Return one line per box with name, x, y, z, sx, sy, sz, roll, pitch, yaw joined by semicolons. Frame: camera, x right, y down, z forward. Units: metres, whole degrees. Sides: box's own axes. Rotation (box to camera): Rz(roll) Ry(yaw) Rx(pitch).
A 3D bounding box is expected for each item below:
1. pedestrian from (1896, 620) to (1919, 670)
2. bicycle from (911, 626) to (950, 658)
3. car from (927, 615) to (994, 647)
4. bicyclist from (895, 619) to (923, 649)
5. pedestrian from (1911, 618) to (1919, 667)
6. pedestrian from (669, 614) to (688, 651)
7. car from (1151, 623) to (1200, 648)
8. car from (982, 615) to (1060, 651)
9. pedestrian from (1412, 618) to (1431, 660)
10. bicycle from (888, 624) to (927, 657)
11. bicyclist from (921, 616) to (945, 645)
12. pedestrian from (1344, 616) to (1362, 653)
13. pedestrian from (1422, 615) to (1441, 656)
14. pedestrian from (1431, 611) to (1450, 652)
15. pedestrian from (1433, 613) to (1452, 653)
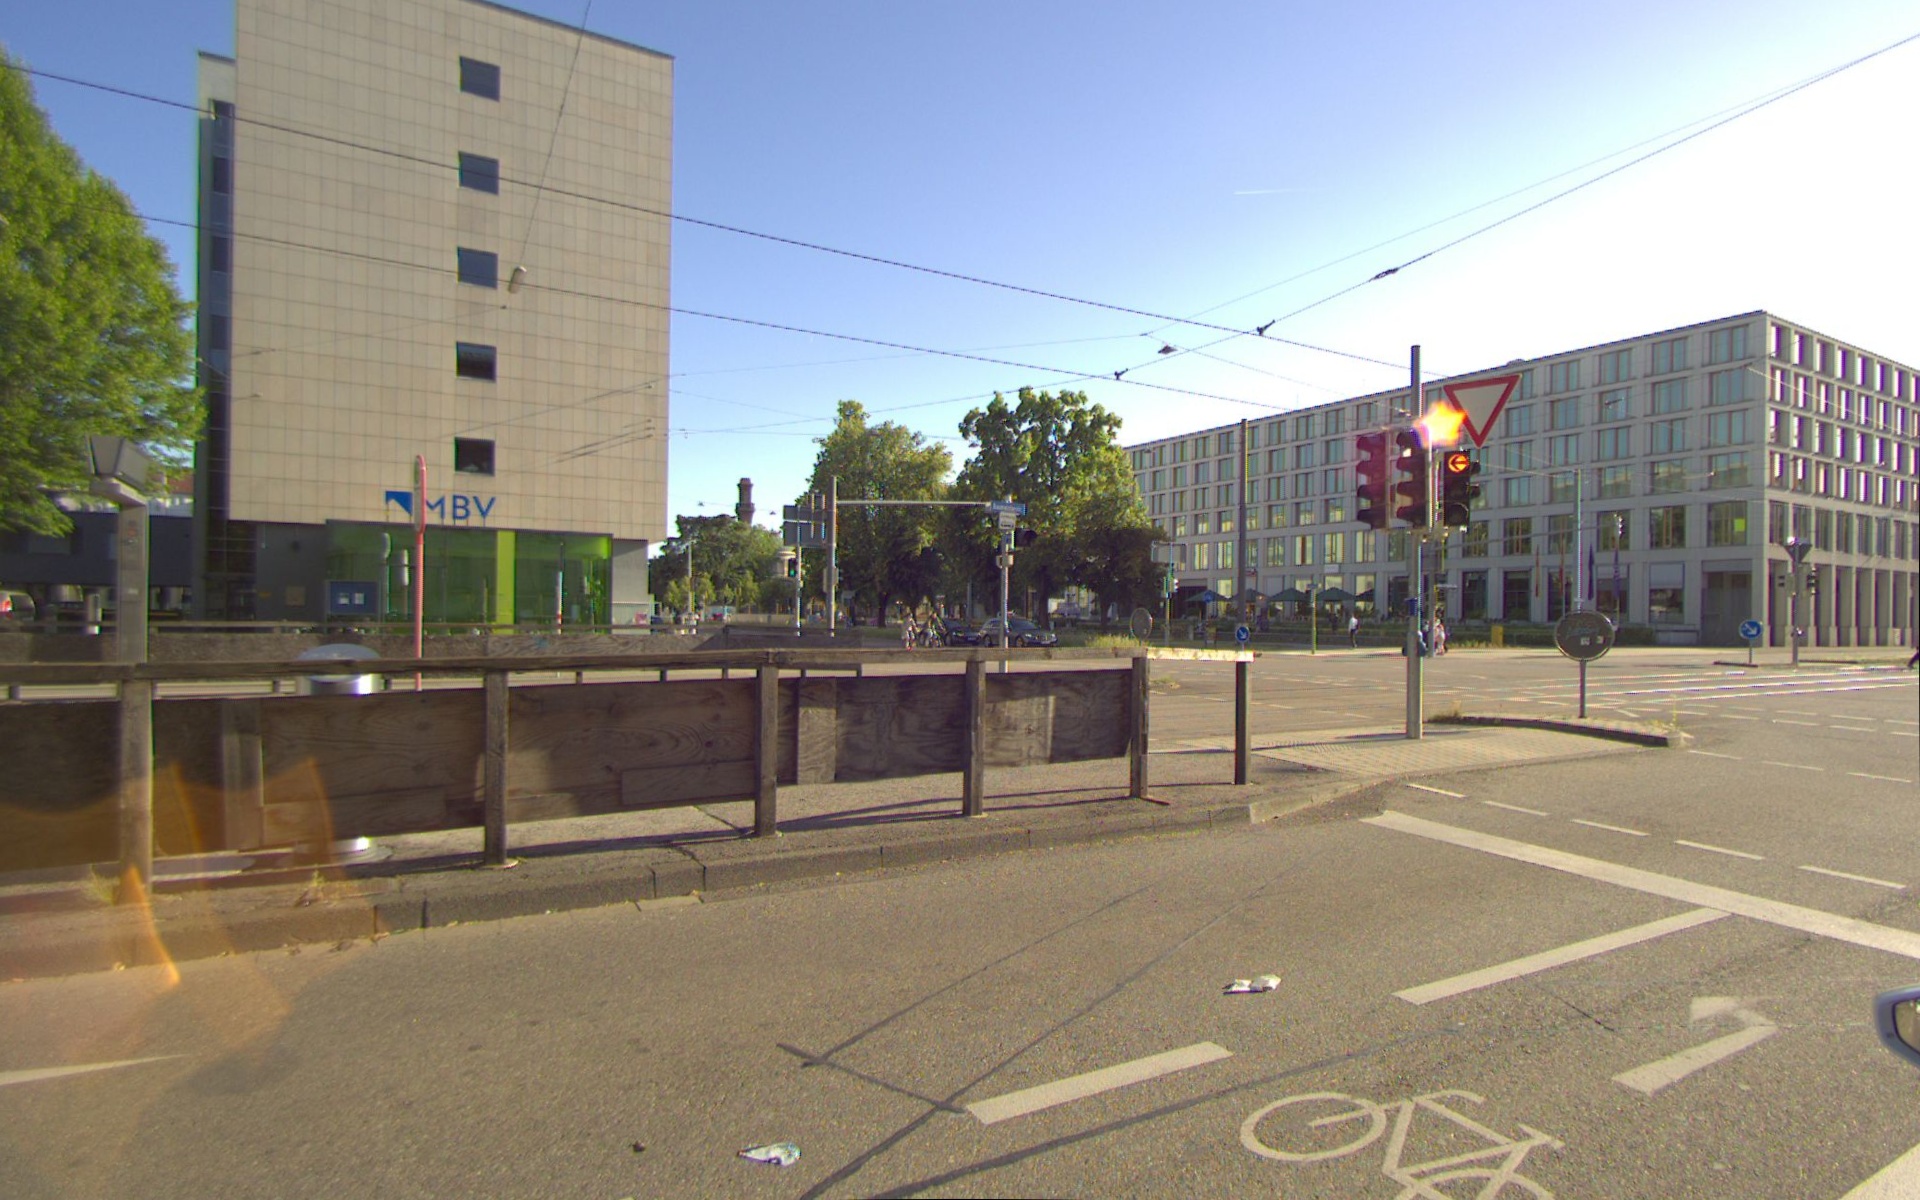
pedestrian;32.321;1.510;33.993;0.526;1.661;0.792;1;-1;-27
bicycle;-1.253;1.760;42.385;0.783;1.308;1.975;1;-1;-31
car;-0.021;1.598;52.796;1.801;1.595;3.967;0;0;-31
bicyclist;-2.097;1.400;41.345;0.788;1.235;0.920;1;-1;-33
pedestrian;32.016;1.417;32.985;0.652;1.608;0.980;2;-1;-28
pedestrian;-12.054;1.372;43.008;0.593;1.561;0.620;1;-1;-32
car;13.533;2.218;63.236;1.450;1.457;3.177;1;-1;-23
car;2.837;1.537;47.534;1.708;1.595;4.140;1;-1;-31
pedestrian;22.809;1.932;49.610;0.793;2.040;0.526;1;-1;-36
bicycle;-2.172;1.666;41.421;0.783;1.308;1.840;1;-1;-33
bicyclist;-1.135;1.275;42.221;0.788;1.235;0.717;1;-1;-31
pedestrian;20.886;1.823;53.399;0.672;1.928;0.560;1;-1;-21
pedestrian;23.837;1.794;50.779;0.793;2.040;0.526;1;-1;-36
pedestrian;23.971;1.570;50.089;0.793;2.040;0.526;1;-1;-36
pedestrian;24.698;1.678;51.408;0.793;2.040;0.526;1;-1;-36
